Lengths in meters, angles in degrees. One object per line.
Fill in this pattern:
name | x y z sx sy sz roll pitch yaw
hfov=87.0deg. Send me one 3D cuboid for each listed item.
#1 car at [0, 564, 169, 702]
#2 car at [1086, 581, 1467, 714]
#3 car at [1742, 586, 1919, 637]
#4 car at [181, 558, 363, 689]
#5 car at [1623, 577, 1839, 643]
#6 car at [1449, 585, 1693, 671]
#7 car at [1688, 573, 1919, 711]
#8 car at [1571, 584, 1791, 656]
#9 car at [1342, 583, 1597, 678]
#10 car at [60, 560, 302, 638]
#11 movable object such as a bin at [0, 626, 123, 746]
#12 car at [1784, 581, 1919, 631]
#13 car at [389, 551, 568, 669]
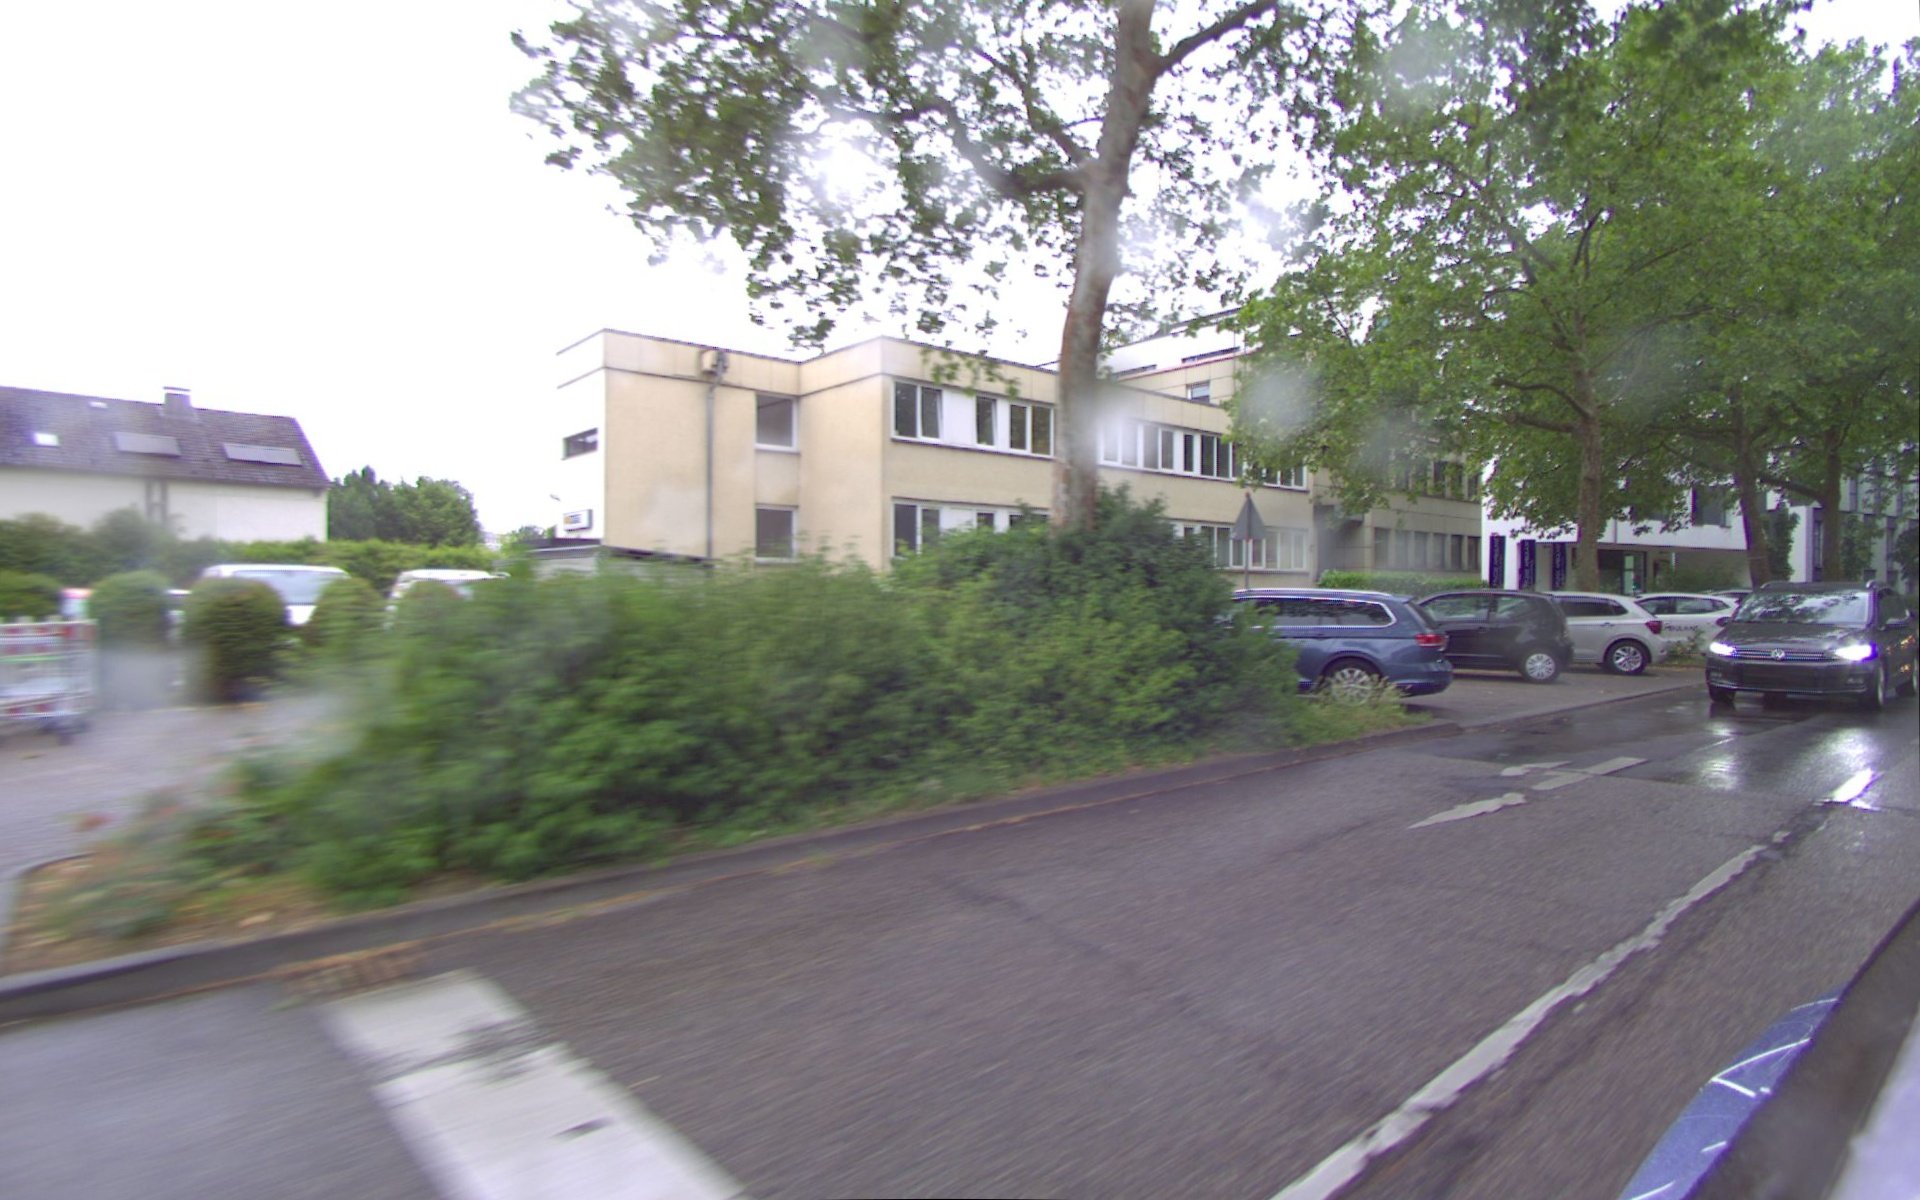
car | -12.271 0.349 13.843 1.790 1.610 4.309 -2 2 -32
car | 4.015 0.495 13.077 4.449 1.477 1.734 1 1 25
car | 26.600 0.301 30.887 3.995 1.446 1.735 1 1 25
car | -11.020 0.270 16.061 1.751 1.779 4.542 -1 1 -43
car | 19.287 0.213 25.542 3.992 1.558 1.736 1 1 23
car | 11.150 0.452 18.785 3.652 1.434 1.761 1 1 24
car | 12.381 0.444 14.378 5.490 1.614 1.998 -1 1 -40
car | 15.485 0.374 21.996 3.658 1.434 1.732 1 1 28
car | 8.431 0.447 17.057 3.652 1.434 1.735 1 1 24
car | -17.601 -0.065 22.995 4.232 1.610 1.823 -1 1 -42
movable object such as a bin | -8.412 0.766 9.347 0.697 0.981 1.077 -2 2 -19
car | 29.909 0.175 33.812 3.631 1.523 1.723 2 1 40
car | -8.456 0.104 17.547 1.718 1.779 4.546 -1 1 -40
